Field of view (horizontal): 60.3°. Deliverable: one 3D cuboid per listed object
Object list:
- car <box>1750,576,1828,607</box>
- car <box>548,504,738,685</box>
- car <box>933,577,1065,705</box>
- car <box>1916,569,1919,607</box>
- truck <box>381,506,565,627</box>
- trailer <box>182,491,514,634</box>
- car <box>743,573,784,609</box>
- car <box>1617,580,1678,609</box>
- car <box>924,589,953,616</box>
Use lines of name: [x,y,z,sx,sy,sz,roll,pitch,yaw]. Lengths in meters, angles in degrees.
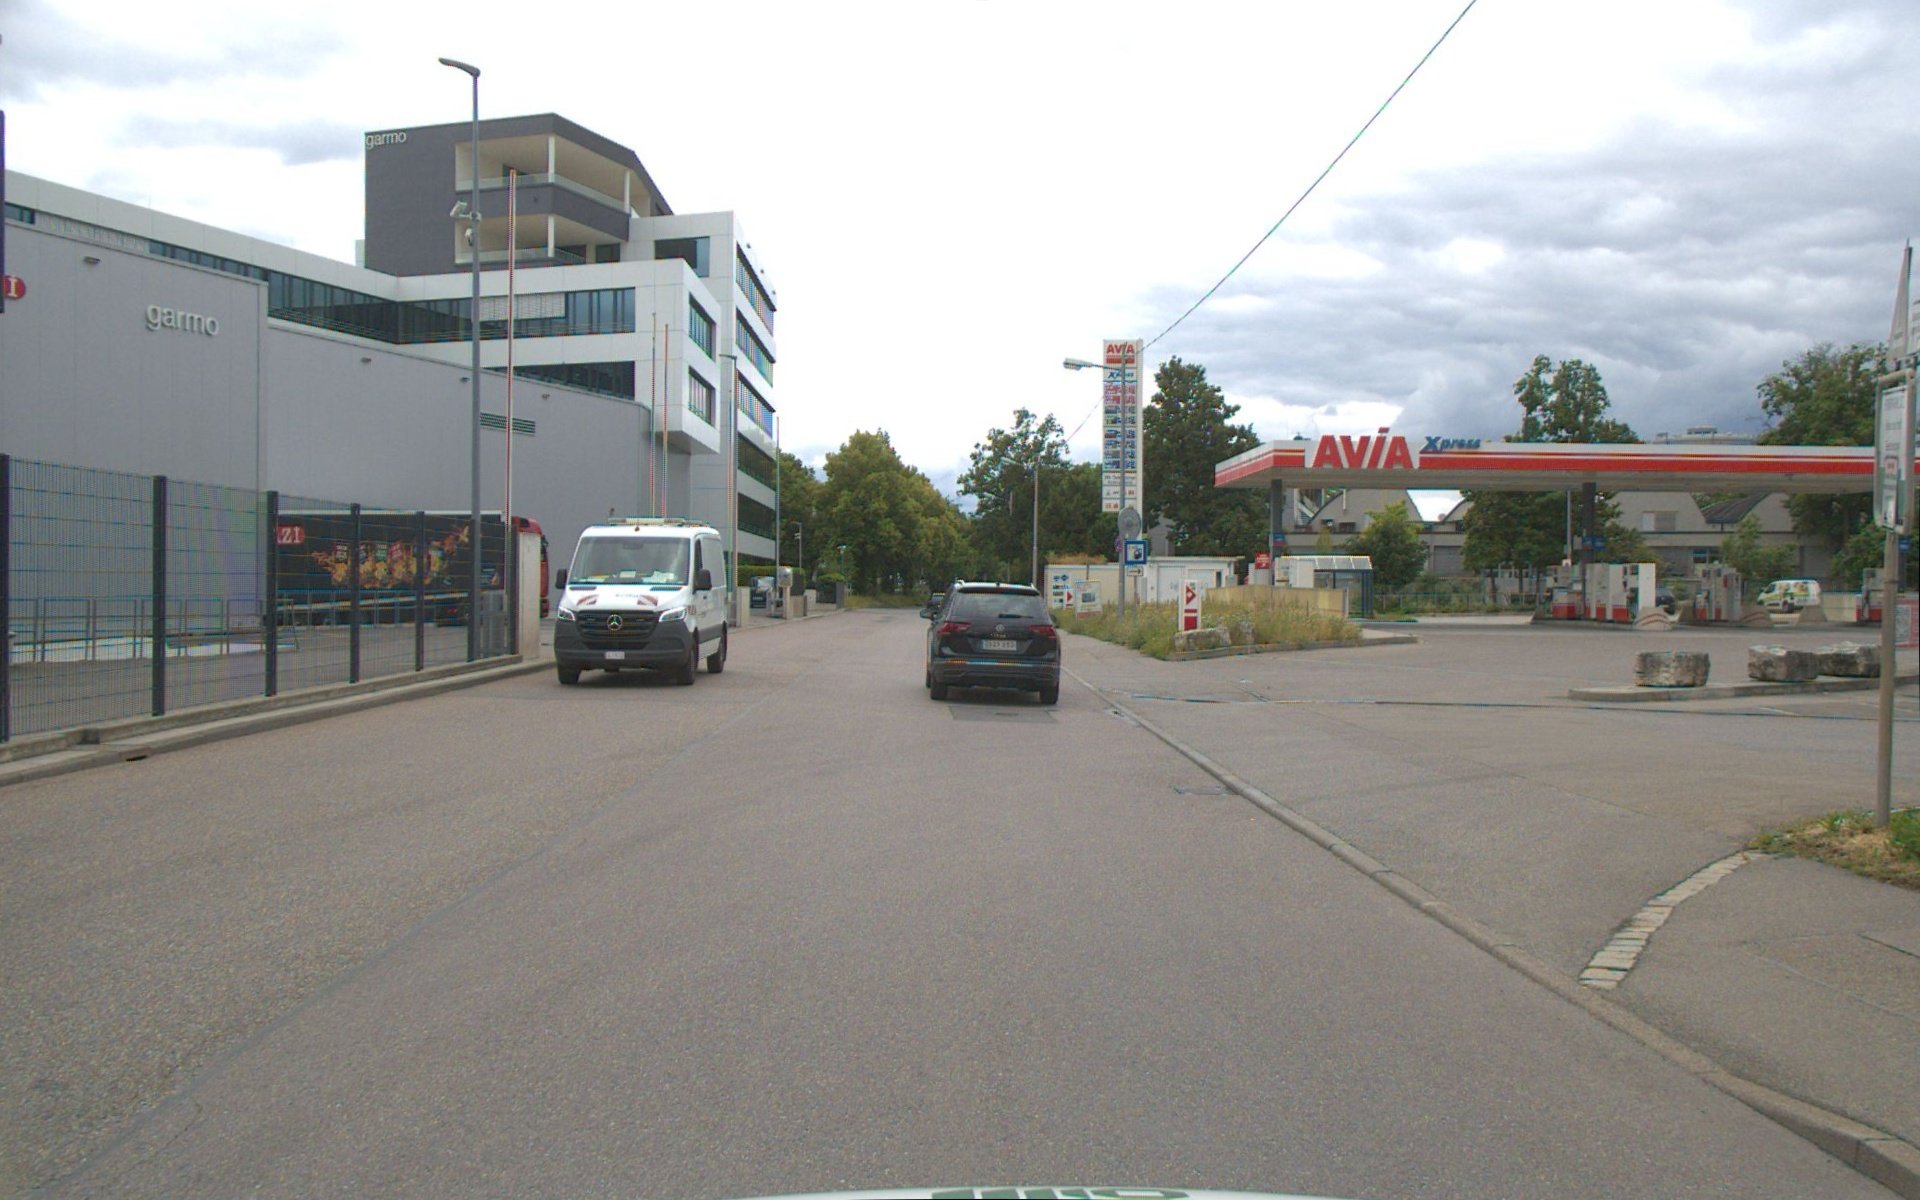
car: [45.969,-0.471,91.825,1.922,1.674,4.652,0,0,-2]
car: [-4.743,-0.117,25.554,1.953,2.458,5.255,1,1,-1]
car: [0.561,0.552,23.761,1.703,1.646,3.642,2,0,1]
car: [54.213,-0.662,90.949,2.051,2.140,4.903,0,0,20]
truck: [-17.391,-1.174,59.646,2.685,4.101,7.095,1,1,19]
trailer: [-19.414,-1.148,53.916,2.685,4.101,12.621,1,1,19]
car: [-10.044,-0.454,84.776,1.616,1.792,3.179,2,0,1]
car: [37.683,-0.327,90.751,1.697,1.557,3.884,0,0,0]
car: [-1.350,0.121,104.080,1.801,1.644,3.999,1,0,-1]
